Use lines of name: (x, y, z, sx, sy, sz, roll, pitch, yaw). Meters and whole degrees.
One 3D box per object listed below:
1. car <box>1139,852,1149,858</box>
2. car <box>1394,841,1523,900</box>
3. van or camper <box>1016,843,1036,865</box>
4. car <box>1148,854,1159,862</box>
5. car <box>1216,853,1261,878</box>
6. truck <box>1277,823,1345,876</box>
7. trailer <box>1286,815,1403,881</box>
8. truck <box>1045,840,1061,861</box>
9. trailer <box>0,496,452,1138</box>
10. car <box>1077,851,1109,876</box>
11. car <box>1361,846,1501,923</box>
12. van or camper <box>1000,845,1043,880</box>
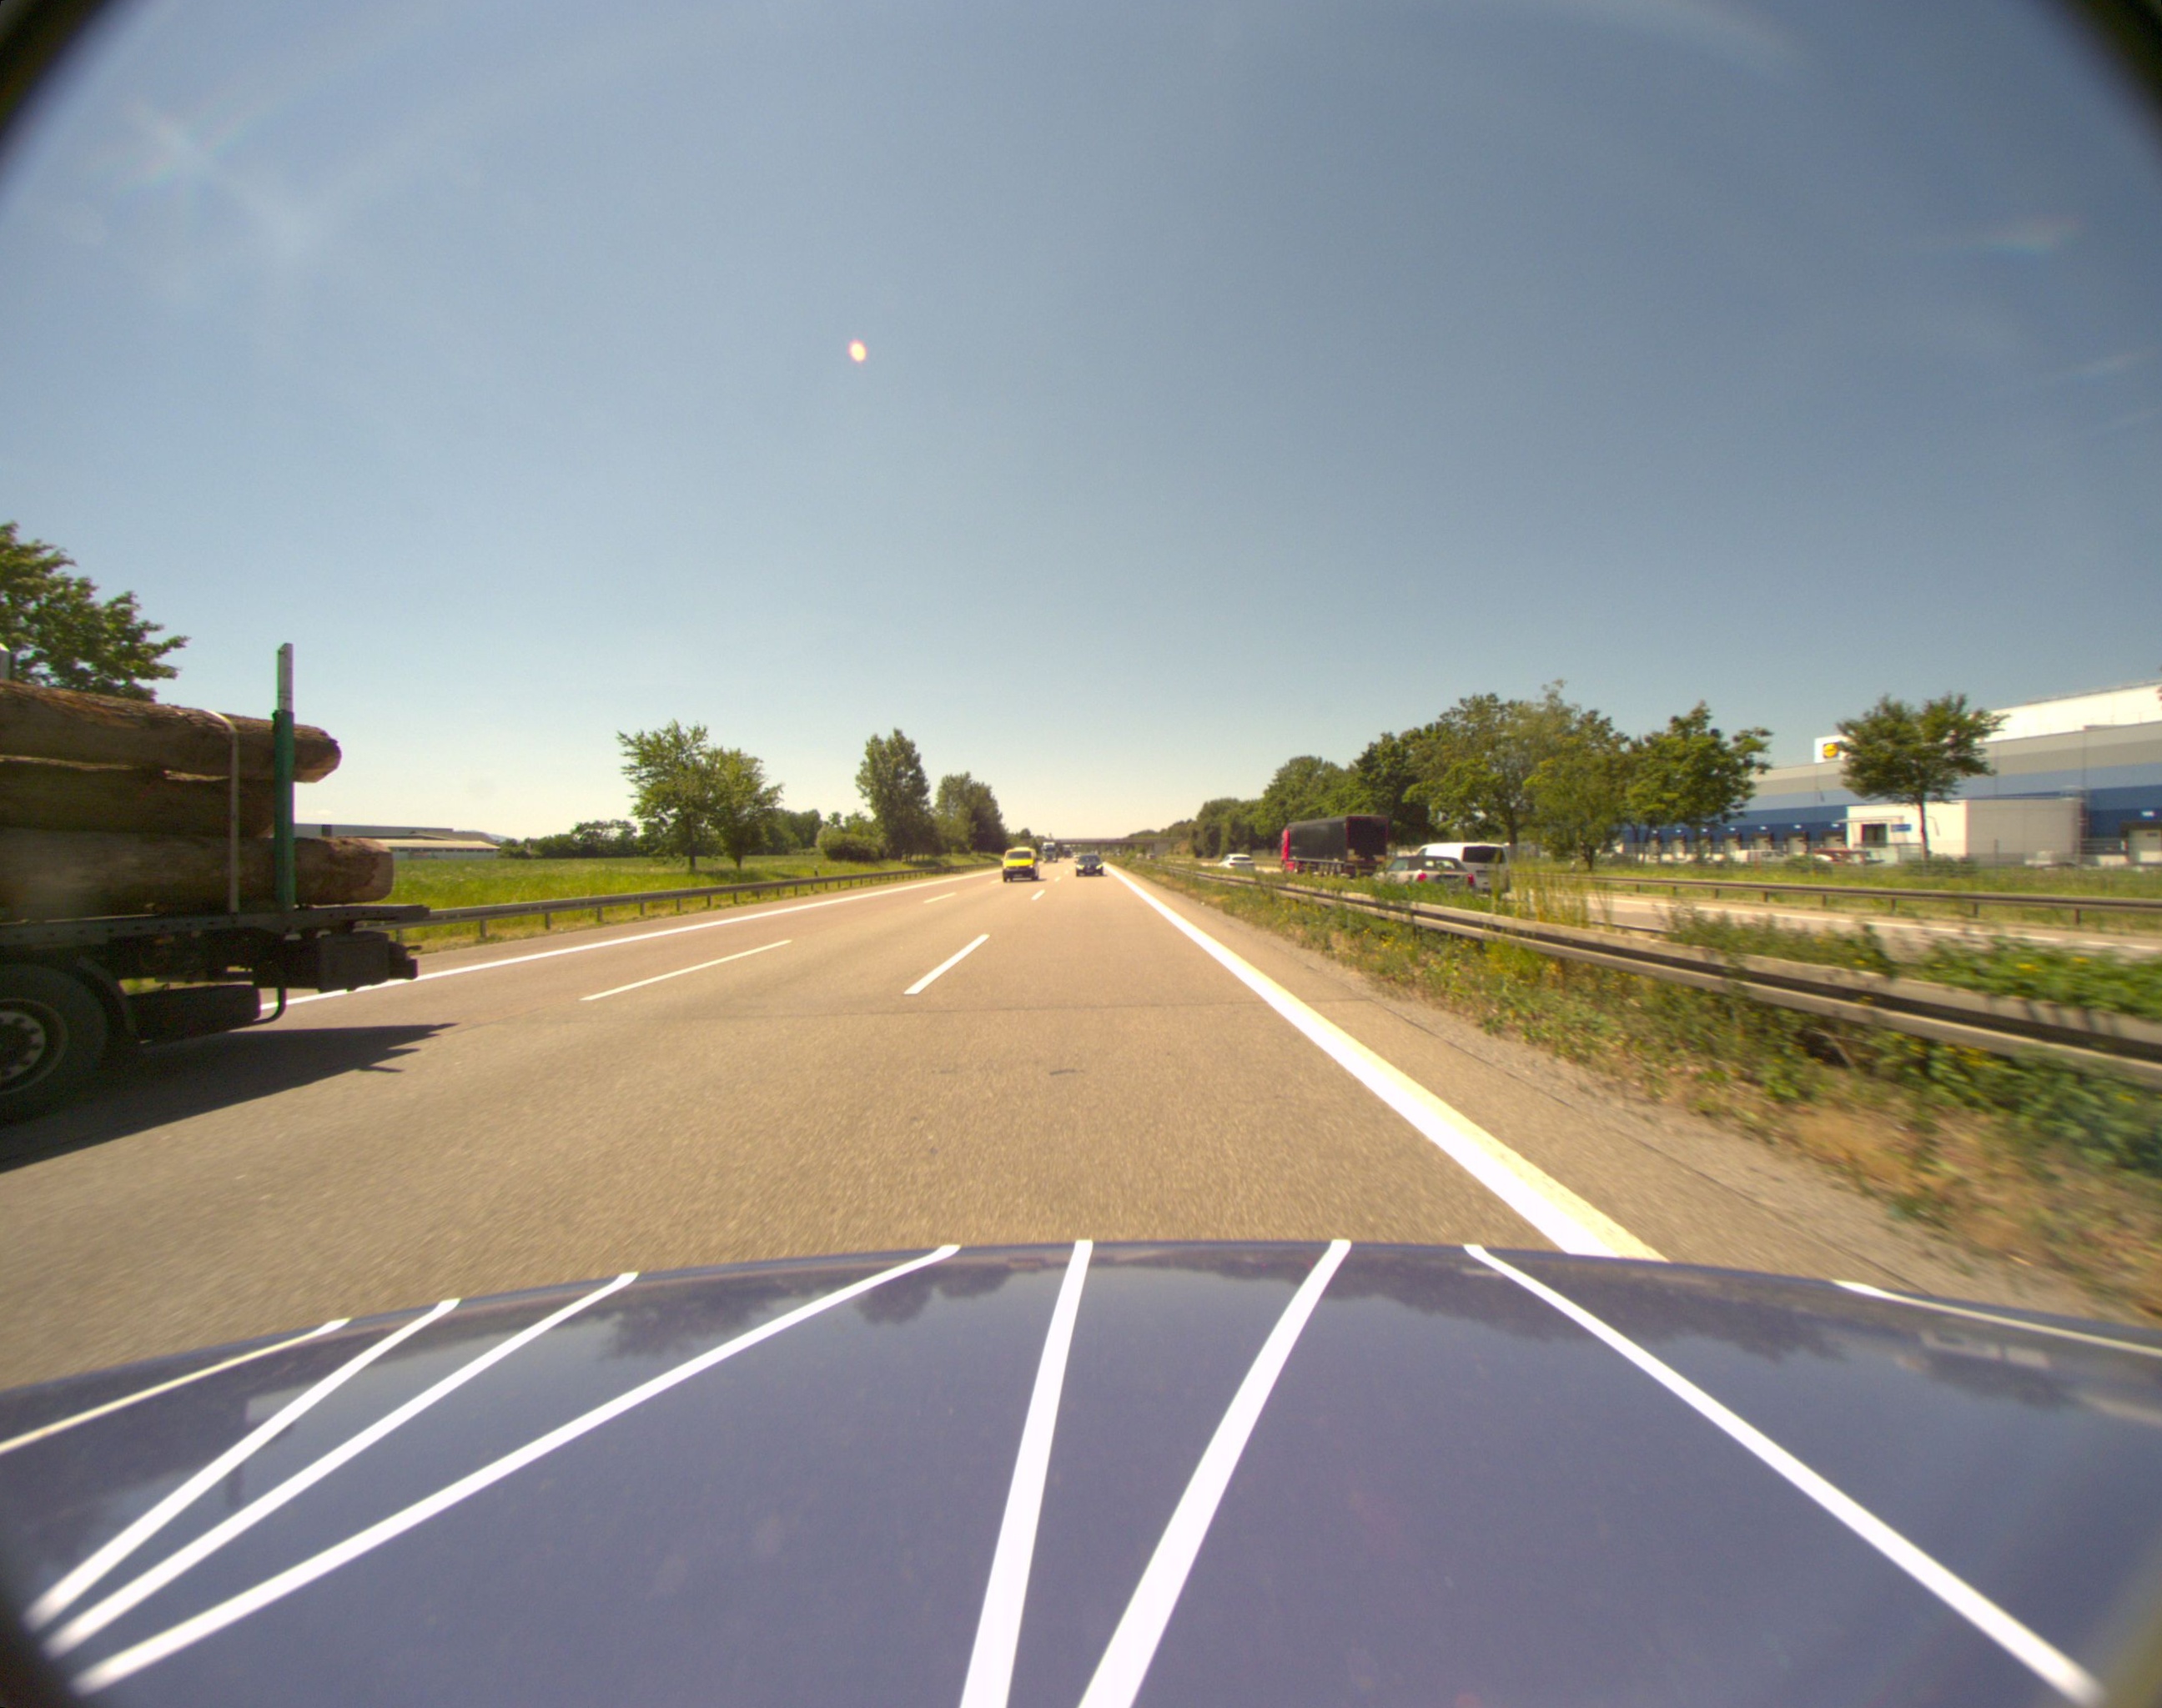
car: (16.353, 0.246, 197.263, 1.999, 1.630, 4.859, 3, 0, 0)
car: (13.408, 0.536, 27.415, 2.000, 1.901, 5.211, 1, 0, -1)
van or camper: (-6.990, 0.018, 97.267, 2.119, 2.687, 6.367, -2, 0, 0)
car: (14.634, 0.829, 154.170, 1.850, 1.672, 4.814, 1, 0, 1)
car: (10.145, 0.741, 49.349, 1.925, 1.520, 4.867, 1, 0, 0)
truck: (18.121, -0.333, 60.319, 3.448, 3.908, 6.221, 1, 0, 1)
trailer: (18.022, -0.363, 53.563, 3.456, 3.988, 14.204, 1, 0, 1)
truck: (-5.646, -0.685, 155.490, 2.806, 4.022, 13.353, -3, 0, 0)
trailer: (-7.999, -0.205, 1.021, 2.659, 3.935, 13.636, -2, 0, 1)
car: (0.738, 0.587, 48.411, 1.894, 1.541, 4.039, 1, 0, -1)
car: (9.507, 0.766, 21.039, 2.000, 1.901, 4.000, 1, 0, -1)
van or camper: (-3.593, 0.481, 46.724, 2.063, 1.992, 5.884, -1, 0, 1)
